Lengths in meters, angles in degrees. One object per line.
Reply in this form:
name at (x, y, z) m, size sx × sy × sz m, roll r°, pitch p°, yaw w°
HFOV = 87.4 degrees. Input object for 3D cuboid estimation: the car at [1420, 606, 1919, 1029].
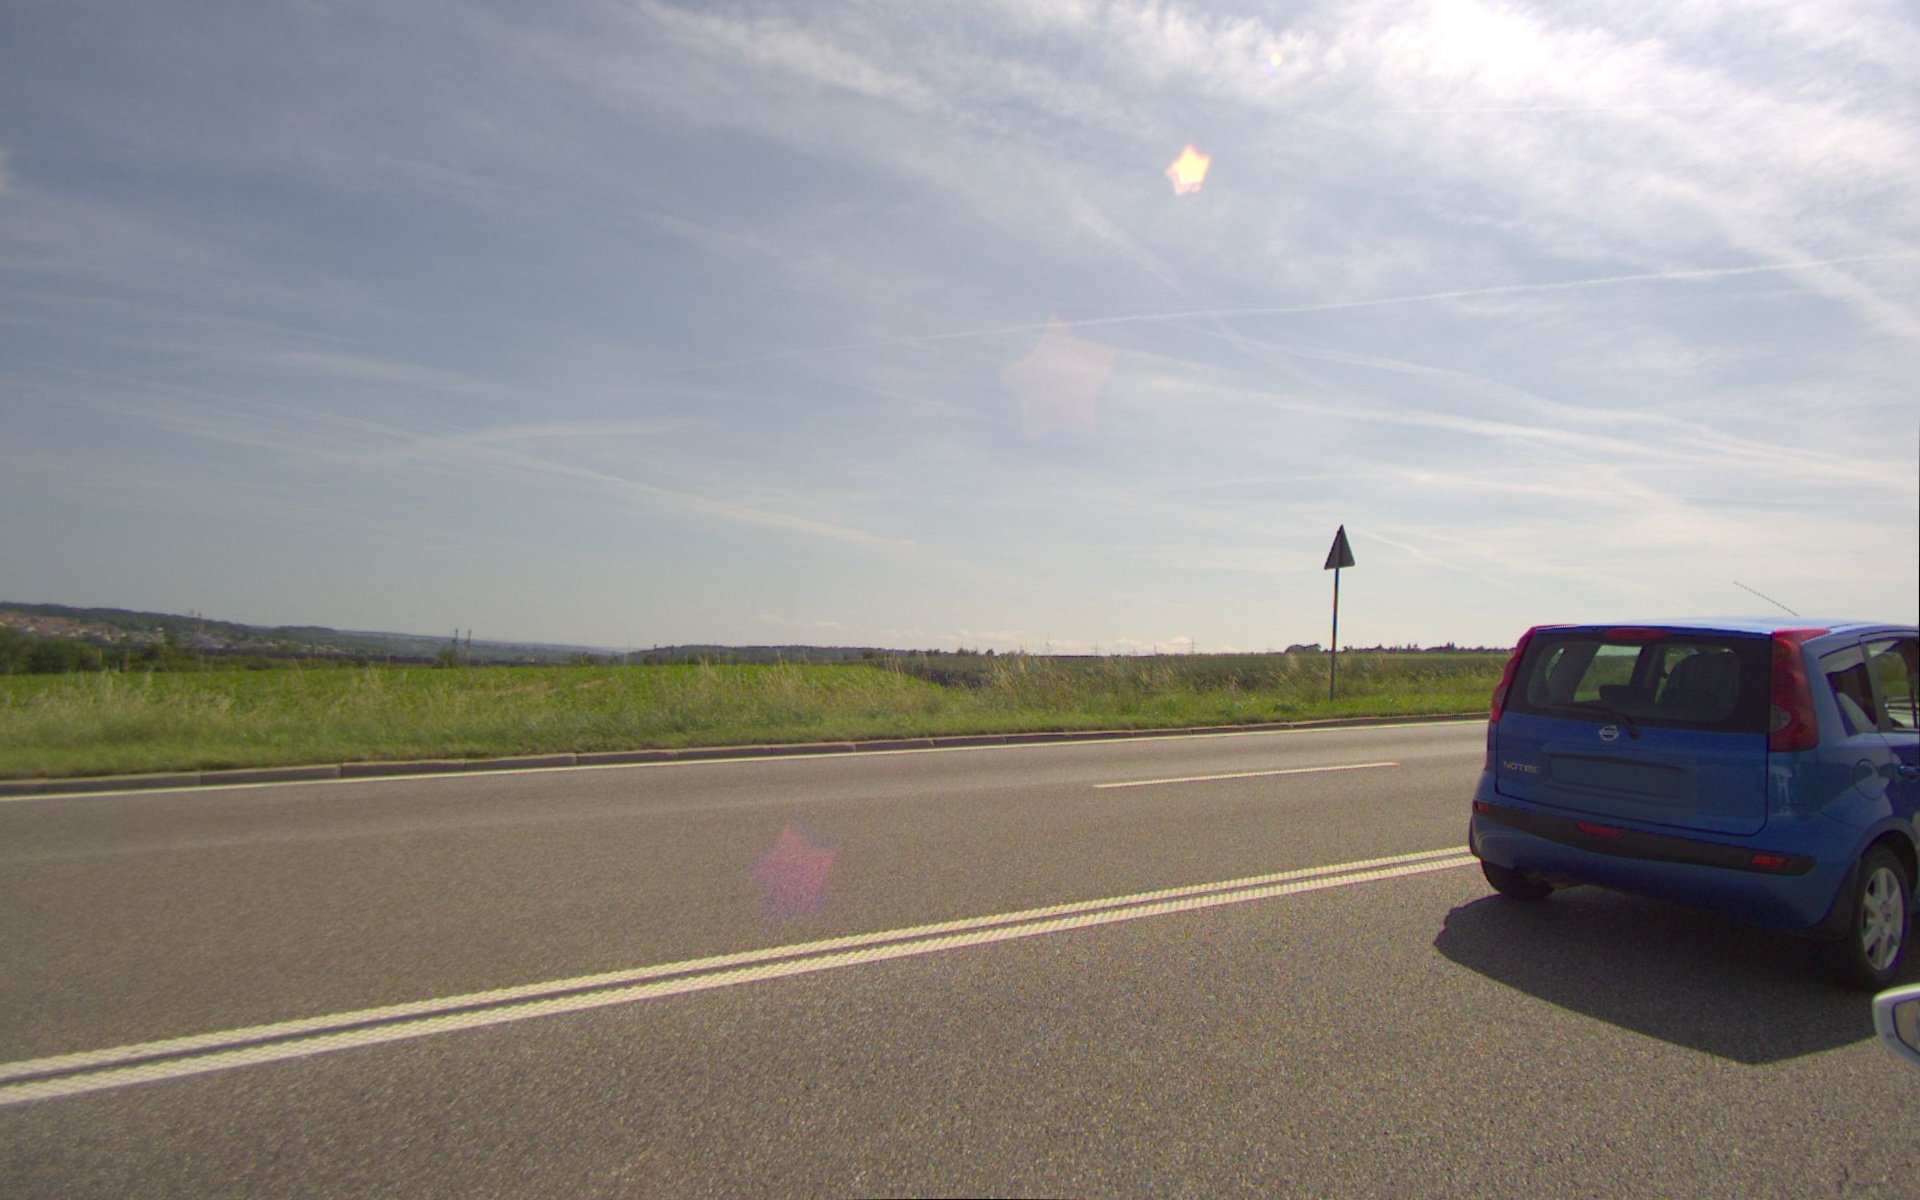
car at (4.433, 0.854, 5.369) m, size 3.867 × 1.551 × 1.625 m, roll 2°, pitch -1°, yaw -29°
